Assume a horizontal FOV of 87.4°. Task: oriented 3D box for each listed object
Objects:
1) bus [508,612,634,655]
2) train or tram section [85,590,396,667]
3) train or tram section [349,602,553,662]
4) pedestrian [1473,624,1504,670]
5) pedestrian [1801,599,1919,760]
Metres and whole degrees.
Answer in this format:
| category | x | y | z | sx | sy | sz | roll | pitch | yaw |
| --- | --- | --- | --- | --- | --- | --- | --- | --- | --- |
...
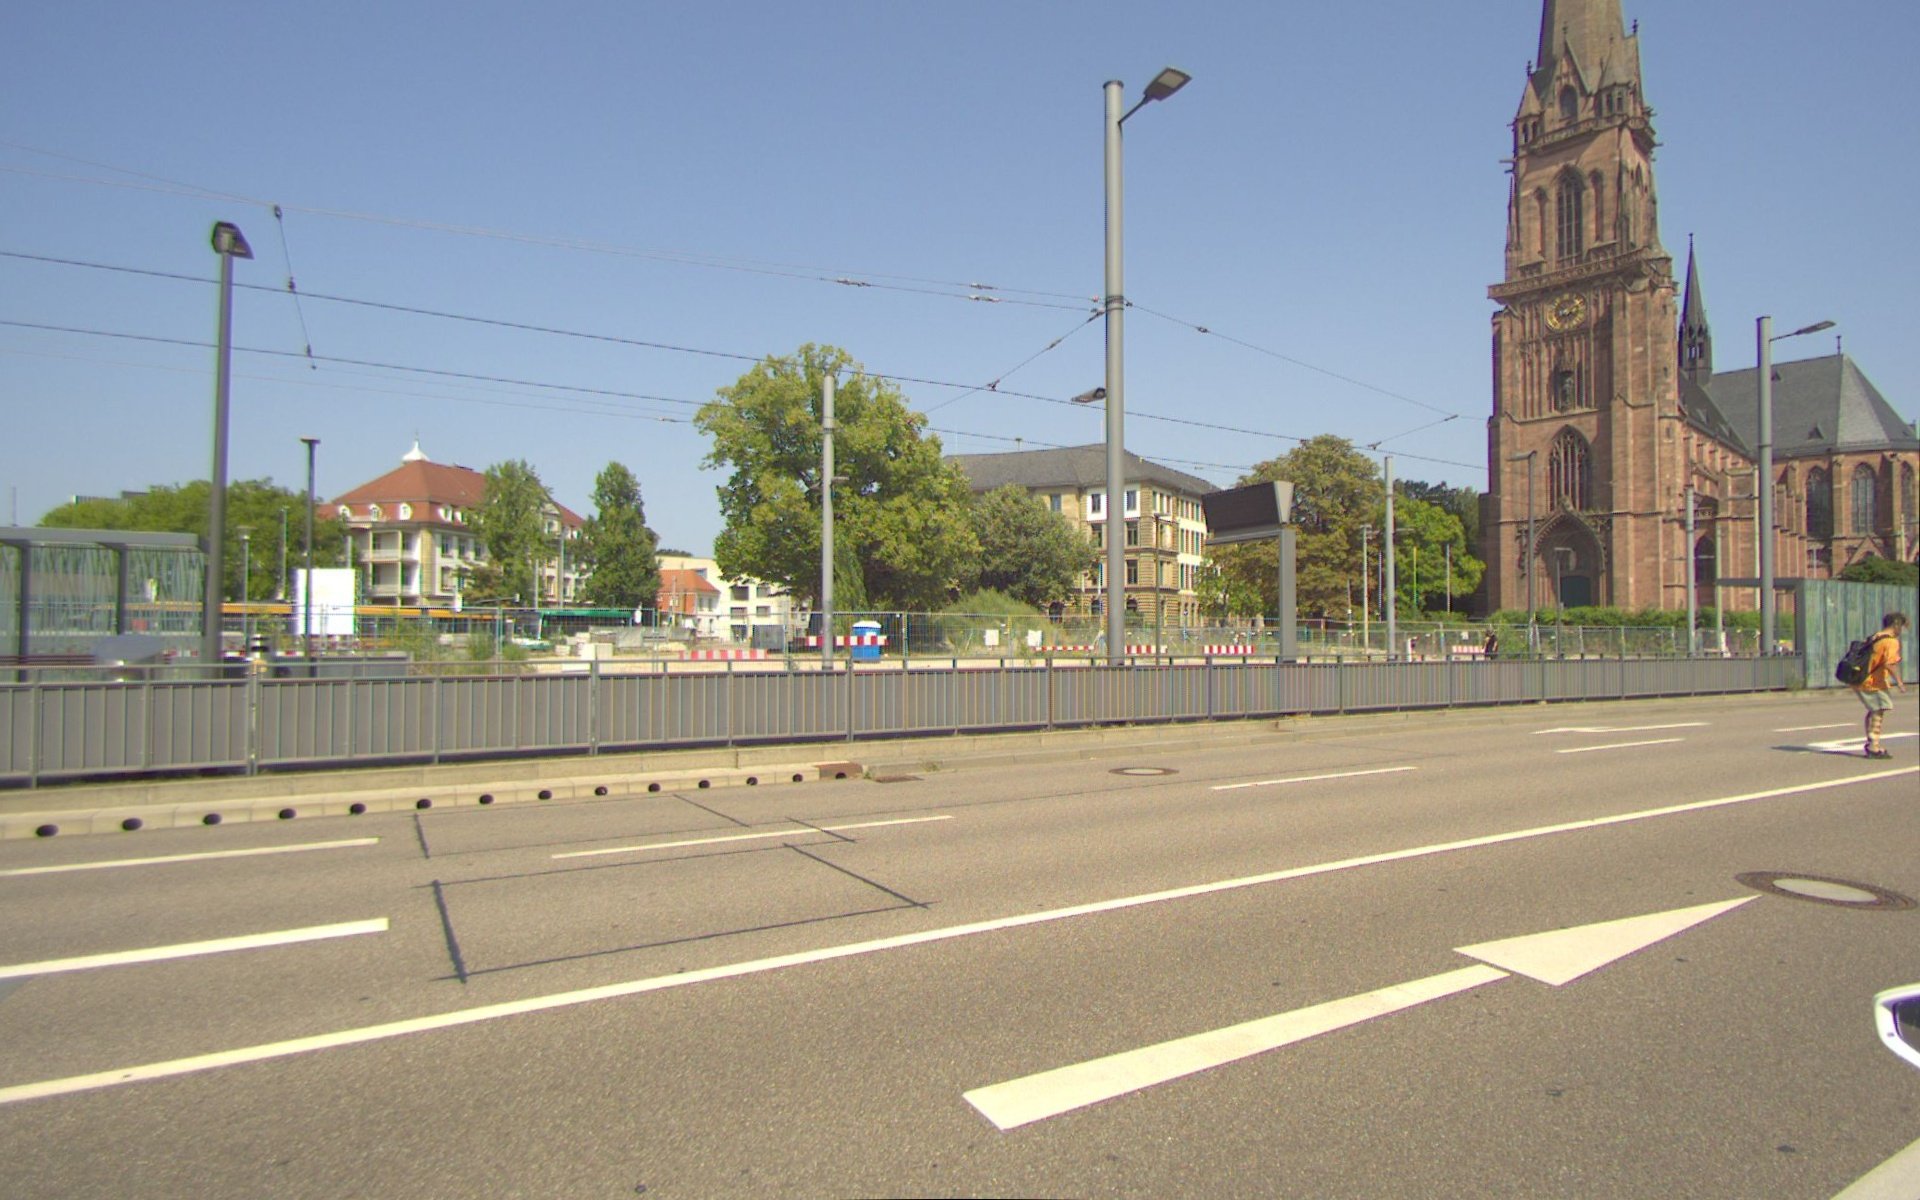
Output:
| category | x | y | z | sx | sy | sz | roll | pitch | yaw |
| --- | --- | --- | --- | --- | --- | --- | --- | --- | --- |
| bus | -30.165 | 2.511 | 78.878 | 2.491 | 3.072 | 12.442 | -2 | -1 | 14 |
| train or tram section | -42.545 | 1.887 | 61.017 | 3.982 | 3.972 | 16.683 | -2 | -3 | 14 |
| train or tram section | -38.383 | 2.584 | 77.240 | 3.982 | 3.972 | 16.683 | -2 | -3 | 14 |
| pedestrian | 20.515 | 1.823 | 38.992 | 0.712 | 1.774 | 0.825 | 2 | -2 | -29 |
| pedestrian | 10.571 | 0.904 | 11.746 | 1.054 | 1.774 | 0.759 | -1 | -3 | 44 |
